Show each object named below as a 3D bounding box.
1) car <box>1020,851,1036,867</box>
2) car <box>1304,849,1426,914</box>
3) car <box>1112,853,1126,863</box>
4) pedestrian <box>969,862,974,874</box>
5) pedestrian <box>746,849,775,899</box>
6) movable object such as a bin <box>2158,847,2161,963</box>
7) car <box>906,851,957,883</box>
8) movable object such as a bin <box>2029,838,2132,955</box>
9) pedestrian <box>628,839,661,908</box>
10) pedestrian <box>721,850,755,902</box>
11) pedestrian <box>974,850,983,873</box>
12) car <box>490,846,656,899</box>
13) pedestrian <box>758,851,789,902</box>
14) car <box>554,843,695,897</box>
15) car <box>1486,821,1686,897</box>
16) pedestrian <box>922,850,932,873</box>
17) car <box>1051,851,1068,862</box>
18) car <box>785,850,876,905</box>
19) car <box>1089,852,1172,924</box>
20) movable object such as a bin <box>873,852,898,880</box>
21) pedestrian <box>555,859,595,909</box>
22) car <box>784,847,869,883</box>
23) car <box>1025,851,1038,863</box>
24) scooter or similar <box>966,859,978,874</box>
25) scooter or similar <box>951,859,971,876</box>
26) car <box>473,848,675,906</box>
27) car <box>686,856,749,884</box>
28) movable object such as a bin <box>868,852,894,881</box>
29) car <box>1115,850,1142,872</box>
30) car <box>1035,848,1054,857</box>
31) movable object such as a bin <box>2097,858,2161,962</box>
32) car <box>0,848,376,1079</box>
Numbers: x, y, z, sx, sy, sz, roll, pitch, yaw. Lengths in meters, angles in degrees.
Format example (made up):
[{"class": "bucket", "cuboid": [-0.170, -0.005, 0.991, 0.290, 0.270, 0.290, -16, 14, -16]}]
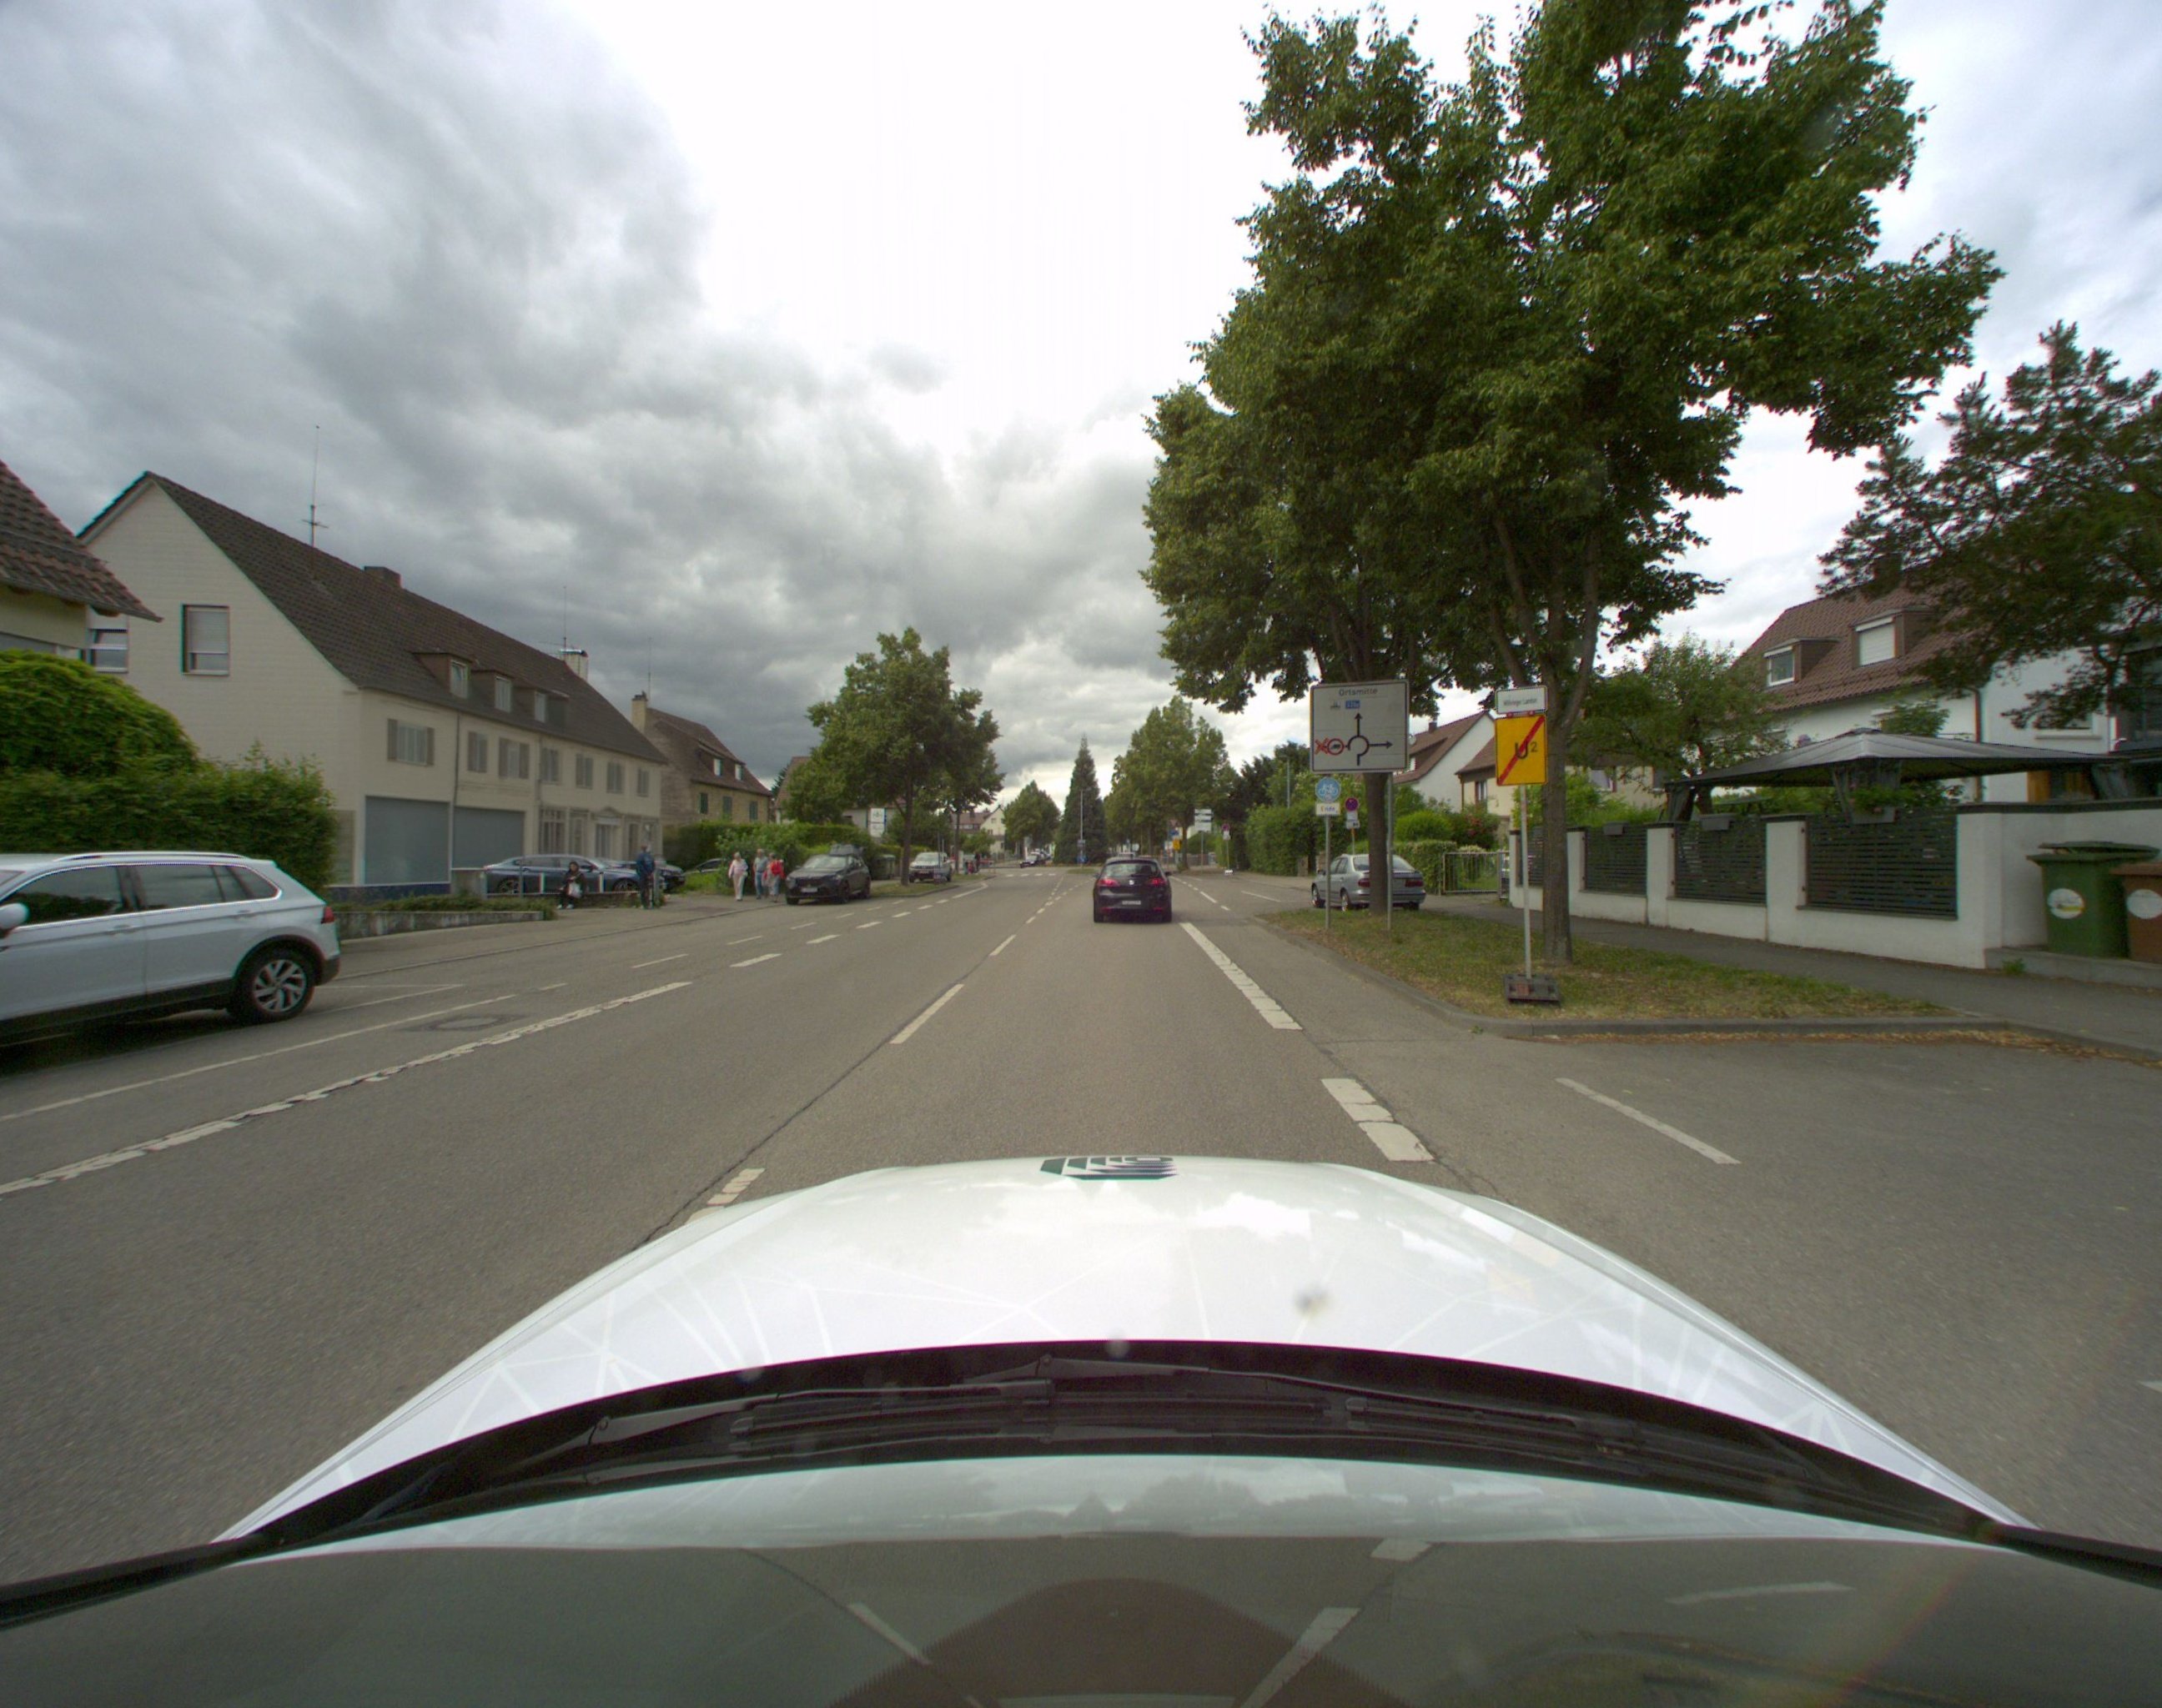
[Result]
[{"class": "car", "cuboid": [-5.694, 0.560, 87.892, 1.565, 1.634, 3.618, -1, 0, -3]}, {"class": "car", "cuboid": [6.782, 0.643, 19.938, 1.605, 1.377, 4.389, -1, -1, 2]}, {"class": "car", "cuboid": [5.803, 0.571, 123.623, 1.474, 1.489, 3.372, -1, 0, -8]}, {"class": "pedestrian", "cuboid": [-7.960, 1.005, 59.143, 0.239, 0.894, 0.257, 0, 0, -26]}, {"class": "pedestrian", "cuboid": [-11.040, 0.680, 28.048, 0.785, 1.663, 0.590, -1, 0, -6]}, {"class": "movable object such as a bin", "cuboid": [9.688, 0.444, 6.928, 0.434, 1.022, 0.455, -1, 0, 3]}, {"class": "car", "cuboid": [-8.112, 0.672, 44.528, 1.854, 1.653, 4.296, 0, 0, 2]}, {"class": "movable object such as a bin", "cuboid": [9.841, 0.410, 8.029, 0.434, 1.109, 0.455, -1, 0, 3]}, {"class": "pedestrian", "cuboid": [-11.719, 0.522, 21.877, 0.502, 1.806, 0.672, -1, 0, 1]}, {"class": "pedestrian", "cuboid": [-11.252, 0.712, 26.750, 0.785, 1.663, 0.880, -1, 0, -5]}, {"class": "pedestrian", "cuboid": [-7.615, 0.561, 60.287, 0.484, 1.669, 0.510, -1, 0, -32]}, {"class": "car", "cuboid": [-15.881, 0.565, 25.634, 3.980, 1.482, 1.788, 2, 0, -5]}, {"class": "pedestrian", "cuboid": [-10.229, 0.752, 27.128, 0.785, 1.663, 0.753, -1, 0, -5]}, {"class": "car", "cuboid": [-15.952, 0.541, 28.544, 3.960, 1.690, 1.876, 0, 3, 12]}, {"class": "car", "cuboid": [13.024, 0.127, 21.201, 3.975, 1.823, 1.999, -1, 0, -1]}, {"class": "pedestrian", "cuboid": [-11.708, 0.563, 62.006, 0.565, 1.784, 0.534, -1, 0, -38]}, {"class": "car", "cuboid": [-3.134, 0.301, 118.610, 1.859, 1.560, 4.268, -1, 0, 7]}, {"class": "car", "cuboid": [-8.517, 0.745, 28.078, 1.719, 1.725, 4.564, 0, 0, 0]}, {"class": "car", "cuboid": [1.202, 0.711, 19.150, 1.724, 1.486, 4.005, -1, 0, 4]}, {"class": "movable object such as a bin", "cuboid": [-11.722, 0.706, 48.821, 1.202, 1.651, 0.997, 2, -1, -1]}, {"class": "pedestrian", "cuboid": [-13.544, 0.794, 21.805, 0.585, 1.313, 0.706, -1, 0, 3]}, {"class": "car", "cuboid": [-13.955, 0.576, 44.802, 3.972, 1.891, 2.001, -1, 0, 1]}, {"class": "car", "cuboid": [-8.488, 0.469, 140.106, 2.024, 1.970, 3.998, -1, 0, -1]}, {"class": "scooter or similar", "cuboid": [-8.175, 0.903, 60.832, 0.409, 1.095, 0.958, 2, -1, -40]}, {"class": "scooter or similar", "cuboid": [-8.390, 0.946, 56.934, 1.292, 1.139, 0.344, -1, 0, -30]}, {"class": "car", "cuboid": [-14.515, 0.657, 23.622, 4.521, 1.554, 2.026, 1, 0, -16]}, {"class": "car", "cuboid": [-19.695, 0.842, 44.209, 2.819, 1.442, 1.297, -1, 0, -4]}, {"class": "movable object such as a bin", "cuboid": [-11.584, 0.703, 47.139, 1.202, 1.651, 0.997, 2, -1, -1]}, {"class": "car", "cuboid": [3.561, 0.483, 61.123, 1.985, 1.613, 4.003, 0, 0, 3]}, {"class": "car", "cuboid": [-8.377, -0.293, 187.255, 3.953, 1.970, 2.047, -1, 0, 20]}, {"class": "movable object such as a bin", "cuboid": [9.827, 0.502, 7.496, 0.434, 0.920, 0.396, -1, 0, 3]}, {"class": "car", "cuboid": [-8.564, 0.791, 6.542, 1.815, 1.634, 4.584, -1, 0, -1]}]
